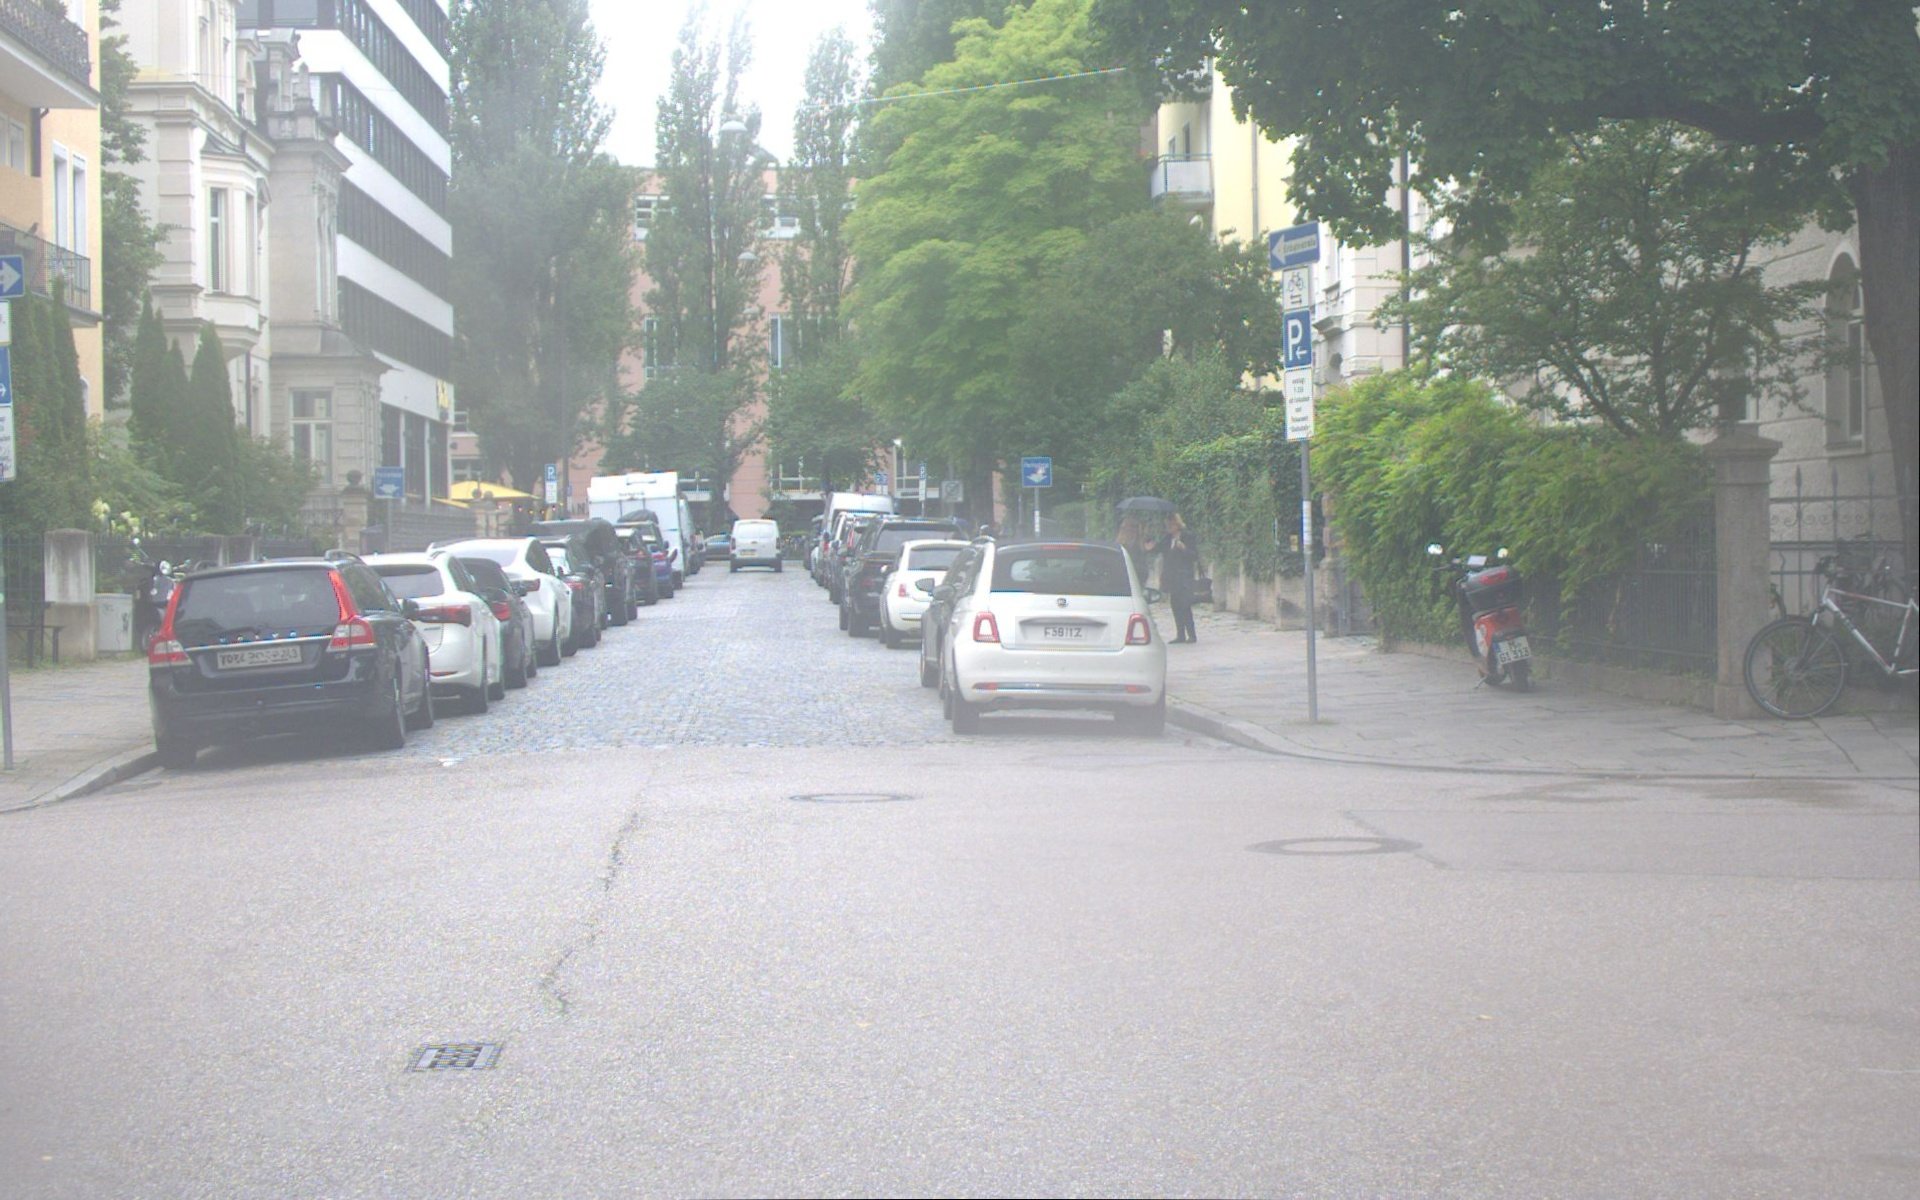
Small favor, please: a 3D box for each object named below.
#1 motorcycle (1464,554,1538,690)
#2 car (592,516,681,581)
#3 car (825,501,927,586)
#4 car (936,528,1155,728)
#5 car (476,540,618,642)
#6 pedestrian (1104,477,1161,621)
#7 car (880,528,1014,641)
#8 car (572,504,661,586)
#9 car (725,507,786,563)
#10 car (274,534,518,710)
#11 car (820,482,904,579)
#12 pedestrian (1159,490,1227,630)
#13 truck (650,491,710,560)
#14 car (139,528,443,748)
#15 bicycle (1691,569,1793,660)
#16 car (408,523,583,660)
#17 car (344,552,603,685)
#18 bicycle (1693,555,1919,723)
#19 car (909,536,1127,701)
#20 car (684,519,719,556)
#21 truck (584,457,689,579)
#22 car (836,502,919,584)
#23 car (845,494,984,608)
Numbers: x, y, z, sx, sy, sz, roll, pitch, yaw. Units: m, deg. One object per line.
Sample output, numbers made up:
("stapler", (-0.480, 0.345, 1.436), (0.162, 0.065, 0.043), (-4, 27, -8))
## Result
("motorcycle", (4.416, 0.167, 28.102), (0.362, 1.086, 1.404), (0, 1, -1))
("car", (-7.418, -1.182, 79.141), (1.939, 1.454, 4.059), (0, 1, -4))
("car", (-1.826, -1.198, 73.404), (1.963, 1.753, 4.955), (0, 1, -4))
("car", (0.622, 0.179, 27.313), (1.502, 1.466, 3.796), (-1, 1, -2))
("car", (-5.987, -0.159, 50.233), (1.773, 1.424, 4.392), (0, 1, -3))
("pedestrian", (2.226, -0.663, 44.328), (0.679, 1.844, 0.577), (0, 1, -2))
("car", (-0.216, -0.240, 47.823), (1.630, 1.464, 3.659), (2, 1, -3))
("car", (-7.365, -1.178, 73.934), (1.773, 1.712, 4.392), (0, 1, -4))
("car", (-7.140, -2.270, 120.139), (1.996, 1.929, 4.000), (0, 1, -2))
("car", (-5.185, 0.155, 32.108), (1.773, 1.531, 4.541), (0, 1, -3))
("car", (-2.648, -1.884, 91.928), (1.894, 2.418, 5.612), (3, 2, -4))
("pedestrian", (3.036, -0.519, 44.735), (0.659, 1.802, 0.629), (1, 1, 33))
("truck", (-9.695, -2.574, 119.293), (1.993, 2.338, 4.069), (0, 1, -3))
("car", (-5.180, 0.237, 27.184), (1.852, 1.580, 4.749), (0, 1, -5))
("bicycle", (7.400, 0.123, 32.620), (0.491, 0.809, 2.273), (0, 1, 1))
("car", (-5.803, -0.138, 43.371), (1.773, 1.642, 4.391), (0, 1, -2))
("car", (-5.247, 0.157, 37.632), (1.774, 1.355, 4.390), (0, 1, 6))
("bicycle", (6.050, 0.265, 23.819), (1.838, 1.120, 0.562), (-1, 1, 7))
("car", (0.494, 0.131, 33.566), (1.648, 1.417, 4.633), (3, 1, -4))
("car", (-10.911, -2.627, 145.206), (1.276, 1.536, 3.119), (0, 1, -1))
("truck", (-8.456, -2.176, 90.448), (2.508, 3.021, 6.386), (-2, 2, -4))
("car", (-2.097, -1.436, 86.397), (1.800, 1.943, 4.861), (2, 1, -4))
("car", (-0.750, -0.762, 52.930), (1.874, 1.667, 5.492), (0, 1, -3))
